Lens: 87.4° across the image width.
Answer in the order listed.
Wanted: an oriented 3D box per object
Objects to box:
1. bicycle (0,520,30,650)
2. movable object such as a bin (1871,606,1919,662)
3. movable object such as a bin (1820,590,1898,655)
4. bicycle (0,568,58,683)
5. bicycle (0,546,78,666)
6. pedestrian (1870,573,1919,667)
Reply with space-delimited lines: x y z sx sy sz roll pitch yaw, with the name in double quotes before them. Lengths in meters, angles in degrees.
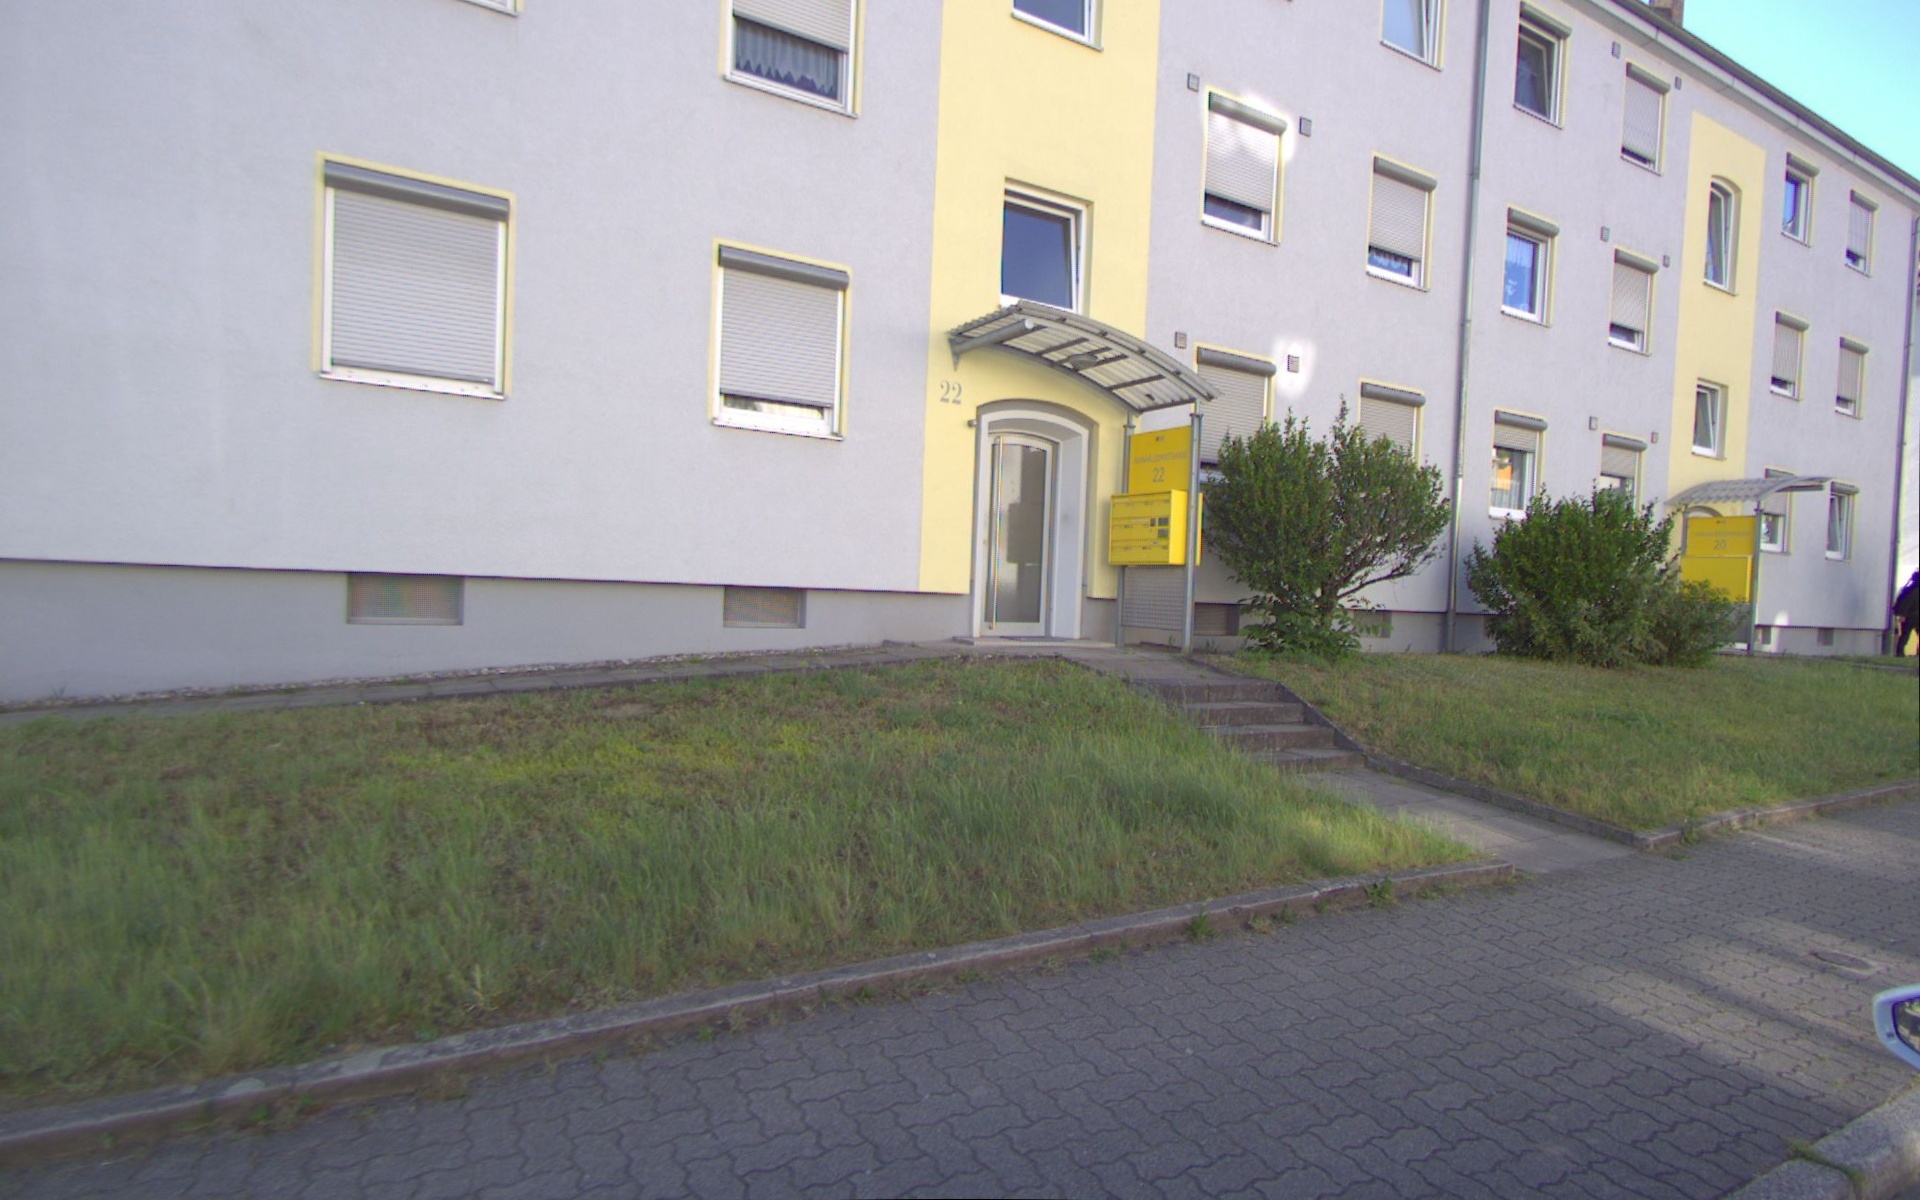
"bicycle" -10.131 -0.178 9.394 1.986 1.235 0.637 1 2 -30
"movable object such as a bin" 24.862 0.894 26.098 1.214 1.354 1.381 1 3 -30
"movable object such as a bin" 20.788 0.517 23.237 0.803 1.425 1.079 1 2 -29
"bicycle" -11.239 0.260 10.946 1.986 1.235 0.637 1 2 -30
"bicycle" -10.550 0.041 10.433 1.986 1.235 0.637 1 2 -30
"pedestrian" 18.967 0.387 20.168 0.709 1.848 0.802 1 1 -29
